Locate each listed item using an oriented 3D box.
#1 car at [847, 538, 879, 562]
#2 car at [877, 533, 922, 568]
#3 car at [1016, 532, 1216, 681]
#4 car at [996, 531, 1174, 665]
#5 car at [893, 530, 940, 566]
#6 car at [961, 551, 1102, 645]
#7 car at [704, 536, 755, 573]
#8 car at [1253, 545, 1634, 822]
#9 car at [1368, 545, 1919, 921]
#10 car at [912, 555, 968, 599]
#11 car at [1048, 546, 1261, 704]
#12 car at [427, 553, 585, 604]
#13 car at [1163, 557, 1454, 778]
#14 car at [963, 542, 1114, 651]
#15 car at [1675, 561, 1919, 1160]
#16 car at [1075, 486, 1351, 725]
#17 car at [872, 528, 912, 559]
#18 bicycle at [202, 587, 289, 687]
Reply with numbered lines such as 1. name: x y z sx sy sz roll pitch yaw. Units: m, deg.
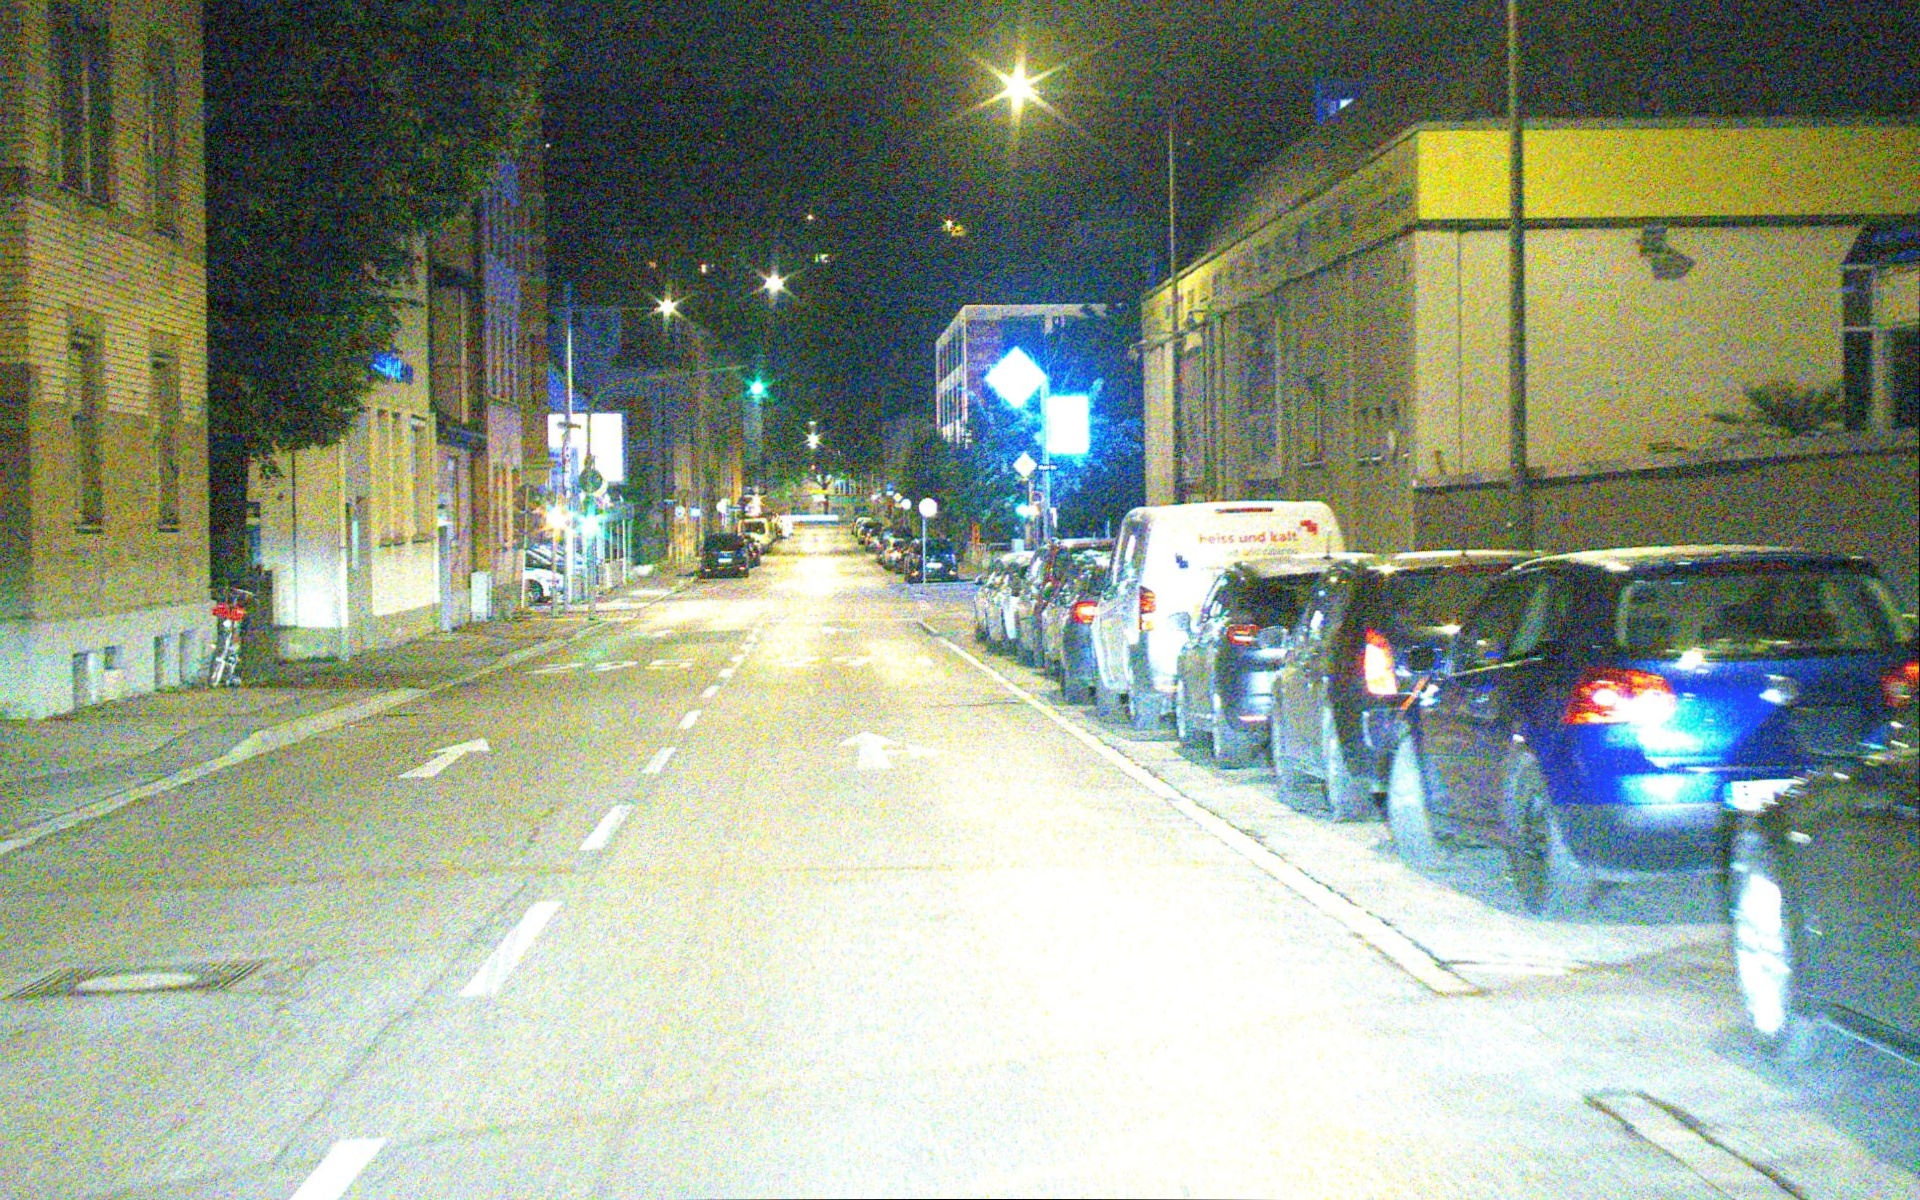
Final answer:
1. car: -6.240 -3.200 221.168 1.993 1.515 4.000 0 0 -1
2. car: -2.717 -2.225 155.463 1.993 1.515 4.000 0 0 -1
3. car: 1.763 0.026 40.284 1.823 1.583 4.629 -2 1 -3
4. car: 1.596 -0.066 45.383 1.823 1.617 4.458 -2 1 -4
5. car: -1.876 -2.245 148.950 1.993 1.515 4.000 0 0 -1
6. car: 1.138 -0.050 56.568 1.859 1.484 4.547 0 0 -5
7. car: -9.583 -1.894 143.244 1.993 1.497 4.000 0 0 -2
8. car: 2.727 0.427 20.112 1.595 1.462 3.719 0 0 -2
9. car: 3.004 0.487 15.059 1.778 1.422 3.892 0 0 -3
10. car: -0.754 -0.854 125.106 1.993 1.511 4.000 0 1 -1
11. car: 1.922 0.206 35.150 1.816 1.422 4.189 -2 1 -1
12. car: -13.289 -0.642 100.867 4.438 1.444 2.000 0 0 -2
13. car: 2.442 0.432 24.891 1.595 1.462 3.892 0 0 -2
14. car: 1.123 -0.066 51.201 1.774 1.539 4.547 0 0 -5
15. car: 3.155 0.609 8.403 1.779 1.422 4.481 0 0 -1
16. car: 2.139 -0.007 30.371 1.800 1.868 4.774 -3 1 -3
17. car: -3.425 -2.859 173.700 1.993 1.515 4.000 0 0 -1
18. bicycle: -7.744 0.392 37.294 0.619 1.048 1.722 0 0 -2
